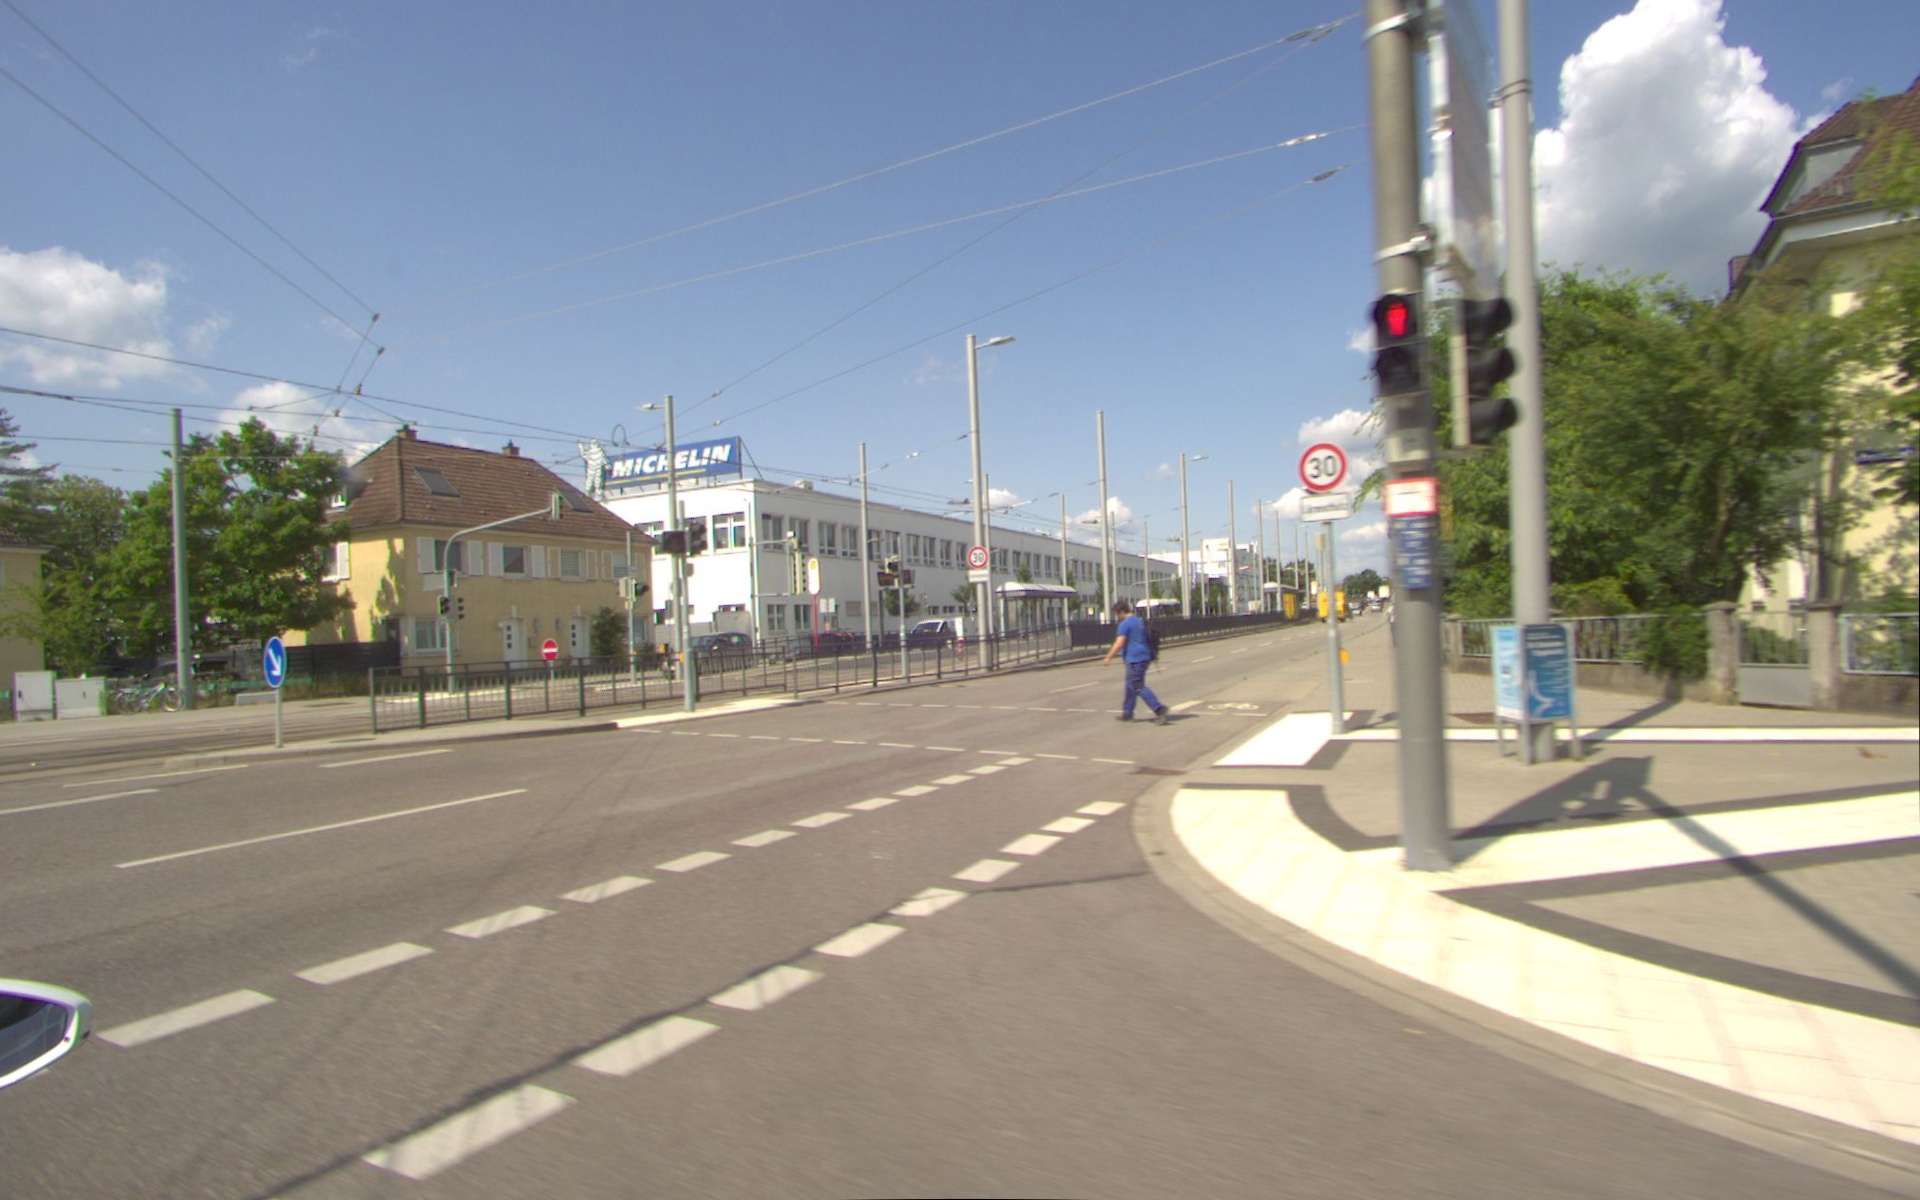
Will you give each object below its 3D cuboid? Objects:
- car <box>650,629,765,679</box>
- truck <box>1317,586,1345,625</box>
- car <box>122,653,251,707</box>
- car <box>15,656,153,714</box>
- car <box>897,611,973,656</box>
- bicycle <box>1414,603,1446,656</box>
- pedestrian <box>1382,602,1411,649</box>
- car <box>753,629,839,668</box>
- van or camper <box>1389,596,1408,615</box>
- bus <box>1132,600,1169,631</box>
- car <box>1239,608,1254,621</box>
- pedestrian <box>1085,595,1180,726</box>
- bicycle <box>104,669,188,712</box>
[{"bbox_3d":[-9.085,1.932,36.300,1.814,1.588,3.984,-3,-1,28],"label":"car"},{"bbox_3d":[35.928,0.615,96.856,2.152,3.448,7.214,-2,-2,23],"label":"truck"},{"bbox_3d":[-27.676,2.852,35.855,3.933,1.641,1.824,-5,-2,21],"label":"car"},{"bbox_3d":[-29.383,2.857,33.598,3.933,1.641,1.824,-5,-2,21],"label":"car"},{"bbox_3d":[-1.225,1.713,52.324,1.787,2.187,4.828,-3,-1,28],"label":"car"},{"bbox_3d":[12.905,0.789,27.538,0.613,1.351,2.795,-3,-1,22],"label":"bicycle"},{"bbox_3d":[13.965,0.820,32.038,0.679,1.451,0.511,-3,-1,38],"label":"pedestrian"},{"bbox_3d":[-6.800,2.005,41.853,1.552,1.464,3.707,-3,-1,28],"label":"car"},{"bbox_3d":[80.152,1.054,183.118,2.958,3.249,7.105,-3,-2,24],"label":"van or camper"},{"bbox_3d":[20.519,1.644,107.594,2.468,3.161,6.636,-3,-1,23],"label":"bus"},{"bbox_3d":[49.980,2.528,174.910,1.967,2.039,3.990,-3,-2,23],"label":"car"},{"bbox_3d":[2.440,0.837,14.121,1.024,1.757,1.029,-2,-1,26],"label":"pedestrian"},{"bbox_3d":[-24.089,2.664,29.670,1.778,1.119,0.701,-2,-1,-21],"label":"bicycle"}]
